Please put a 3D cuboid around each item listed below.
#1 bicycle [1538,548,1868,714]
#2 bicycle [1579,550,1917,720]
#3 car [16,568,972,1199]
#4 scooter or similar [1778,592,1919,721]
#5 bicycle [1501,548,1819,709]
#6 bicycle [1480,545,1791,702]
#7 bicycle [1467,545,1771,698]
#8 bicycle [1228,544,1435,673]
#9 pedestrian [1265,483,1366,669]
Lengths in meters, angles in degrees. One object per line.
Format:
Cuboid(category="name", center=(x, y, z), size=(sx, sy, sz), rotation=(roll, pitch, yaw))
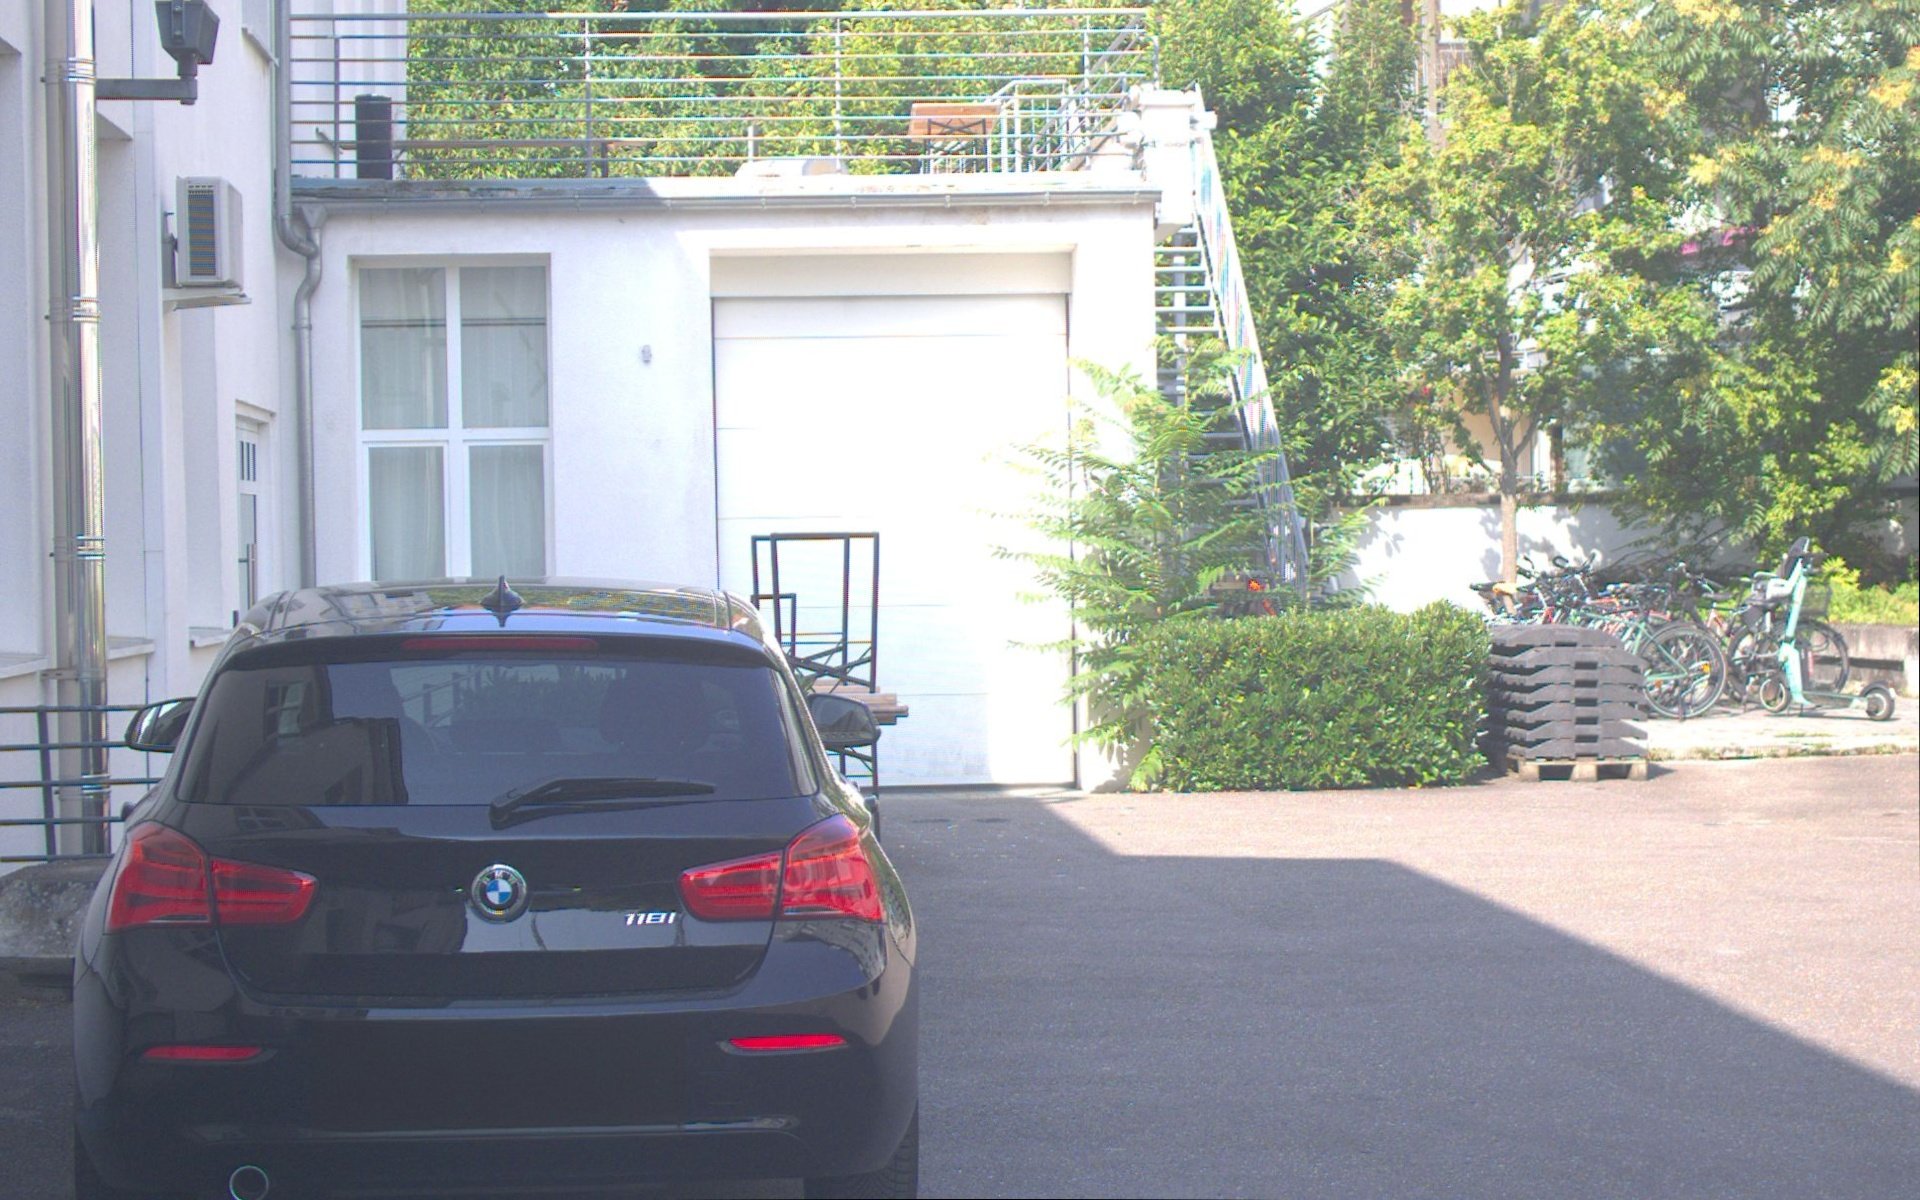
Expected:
Cuboid(category="bicycle", center=(5.679, 0.228, 26.313), size=(2.410, 1.242, 0.526), rotation=(0, 1, -4))
Cuboid(category="bicycle", center=(5.881, 0.255, 25.699), size=(2.410, 1.242, 0.526), rotation=(0, 1, -4))
Cuboid(category="car", center=(-1.126, 0.658, 8.575), size=(1.792, 1.423, 4.137), rotation=(0, 1, -7))
Cuboid(category="scooter or similar", center=(6.556, 0.407, 25.335), size=(0.359, 0.921, 0.999), rotation=(-1, 1, -42))
Cuboid(category="bicycle", center=(5.516, 0.216, 27.132), size=(2.410, 1.242, 0.526), rotation=(0, 1, -4))
Cuboid(category="bicycle", center=(5.451, 0.180, 27.777), size=(2.410, 1.242, 0.526), rotation=(0, 1, -4))
Cuboid(category="bicycle", center=(5.441, 0.172, 28.430), size=(2.410, 1.242, 0.526), rotation=(0, 1, -4))
Cuboid(category="bicycle", center=(3.573, 0.070, 33.002), size=(1.987, 1.140, 0.490), rotation=(-3, 2, -25))
Cuboid(category="pedestrian", center=(3.431, -0.237, 33.203), size=(0.609, 1.765, 0.861), rotation=(-1, 1, -26))
